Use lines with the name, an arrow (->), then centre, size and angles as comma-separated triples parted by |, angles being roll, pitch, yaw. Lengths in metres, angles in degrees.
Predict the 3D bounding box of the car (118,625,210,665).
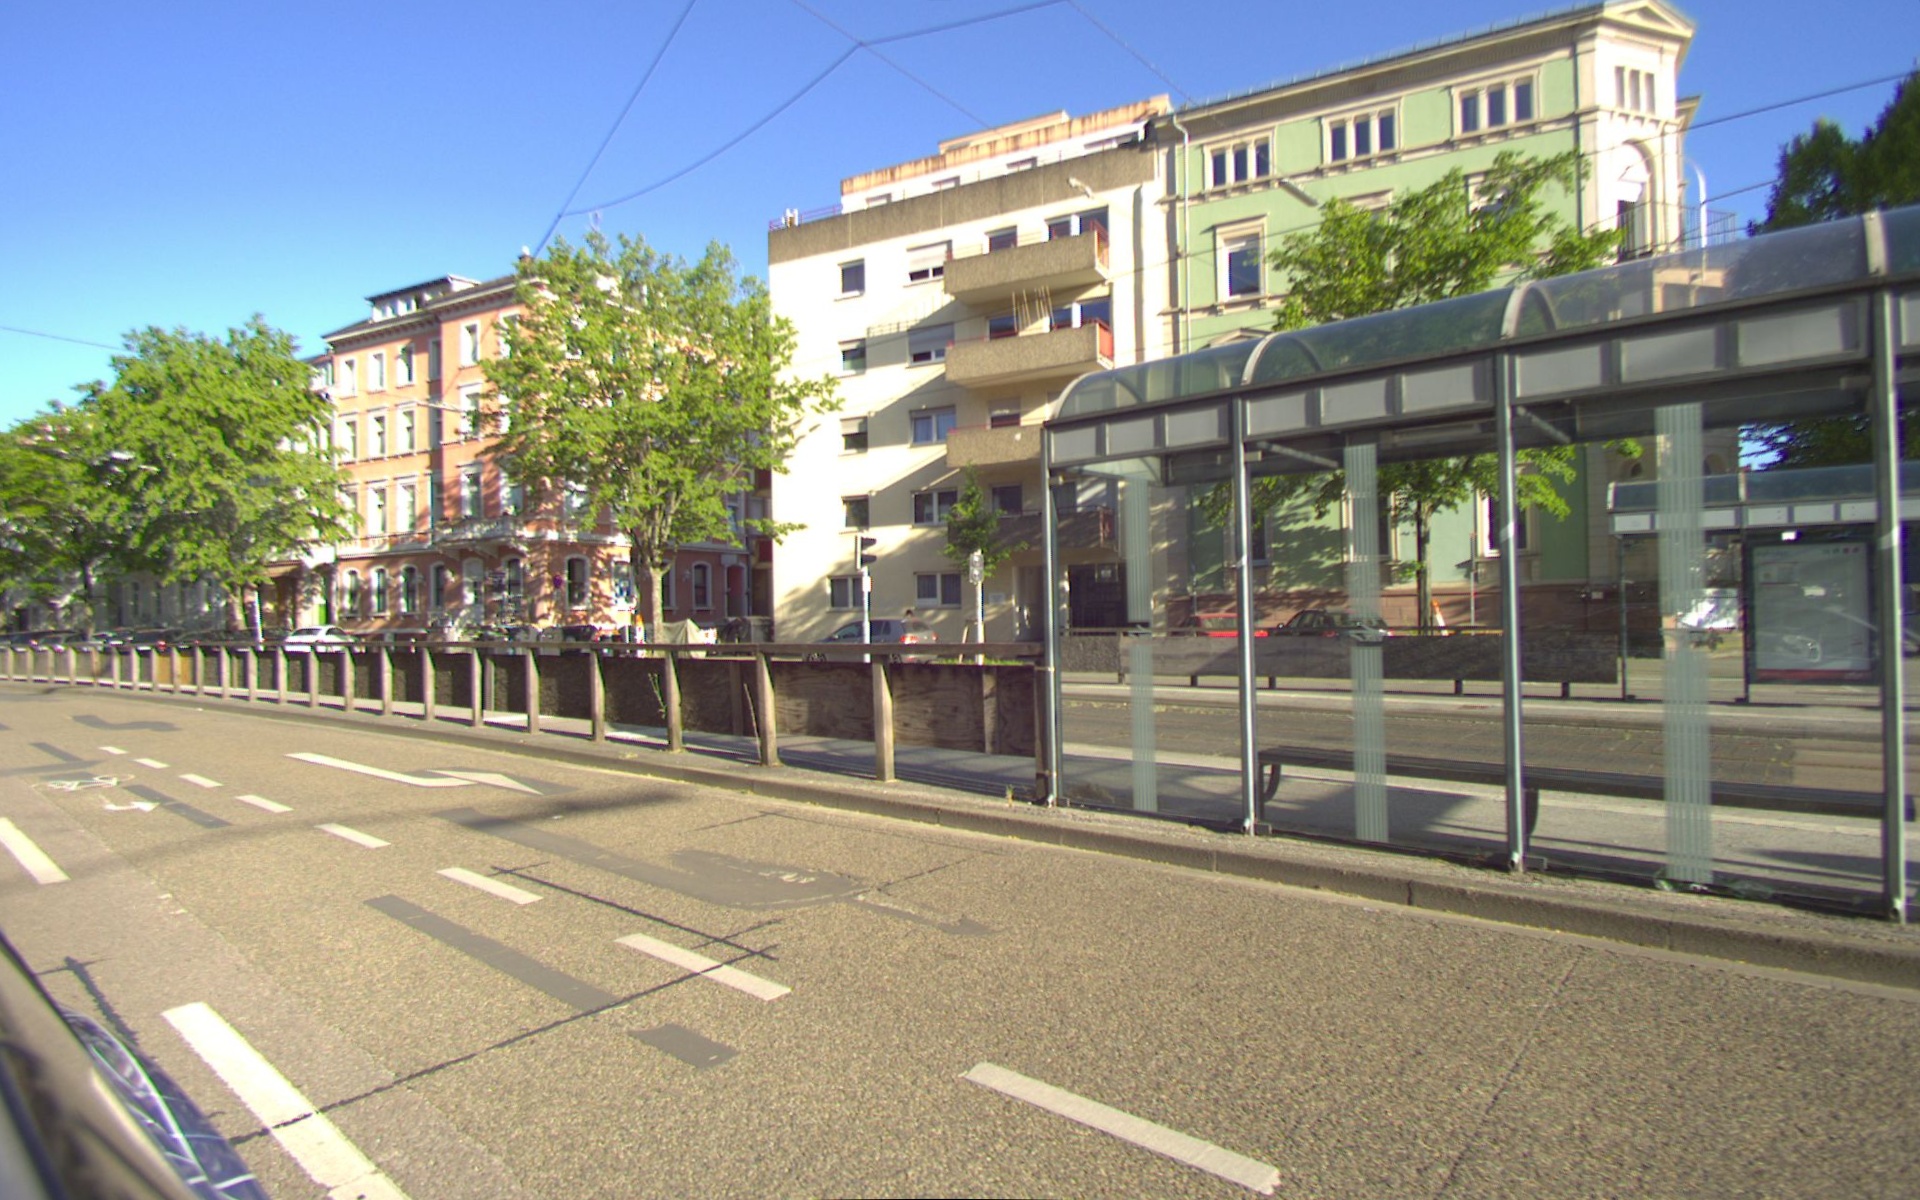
car -> -37.923, 2.103, 48.353 | 1.609, 1.629, 3.993 | -2, 1, -8

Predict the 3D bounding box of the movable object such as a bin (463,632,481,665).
movable object such as a bin -> -18.441, 1.834, 38.268 | 0.639, 1.212, 0.375 | -2, -1, 40

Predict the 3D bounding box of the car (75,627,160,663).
car -> -43.253, 2.288, 52.055 | 1.682, 1.544, 3.284 | -2, 2, -4

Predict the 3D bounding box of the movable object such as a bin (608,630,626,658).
movable object such as a bin -> -13.077, 1.681, 38.588 | 0.551, 1.041, 0.443 | 0, 0, 34

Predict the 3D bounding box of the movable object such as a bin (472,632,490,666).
movable object such as a bin -> -17.916, 1.822, 37.855 | 0.639, 1.251, 0.375 | -2, -1, 40

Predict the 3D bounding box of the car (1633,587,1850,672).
car -> 16.220, 0.533, 21.332 | 1.572, 1.581, 4.504 | -1, 1, 8

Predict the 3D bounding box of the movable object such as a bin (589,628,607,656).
movable object such as a bin -> -14.255, 1.655, 39.856 | 0.551, 1.105, 0.376 | -2, -1, 34

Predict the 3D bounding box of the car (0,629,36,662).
car -> -57.585, 2.778, 59.985 | 1.760, 1.811, 4.202 | -1, 2, -1

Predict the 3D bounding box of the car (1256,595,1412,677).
car -> 8.470, 0.738, 23.381 | 1.566, 1.654, 4.521 | -1, 1, -5

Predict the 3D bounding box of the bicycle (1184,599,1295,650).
bicycle -> 8.042, 0.710, 29.201 | 2.995, 1.409, 0.713 | -2, -1, 27

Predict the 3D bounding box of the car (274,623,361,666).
car -> -27.886, 1.878, 44.046 | 1.708, 1.533, 3.925 | -3, 2, -9

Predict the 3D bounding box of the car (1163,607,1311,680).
car -> 6.288, 0.928, 23.569 | 1.845, 1.436, 4.521 | -1, 1, -5

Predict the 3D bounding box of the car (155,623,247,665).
car -> -35.335, 2.024, 47.239 | 1.609, 1.629, 3.993 | -2, 1, -8

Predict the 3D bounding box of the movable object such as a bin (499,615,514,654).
movable object such as a bin -> -17.077, 1.301, 38.091 | 0.385, 1.437, 0.376 | -2, -1, 40

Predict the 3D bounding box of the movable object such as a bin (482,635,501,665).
movable object such as a bin -> -17.263, 1.851, 37.284 | 0.639, 1.076, 0.375 | -2, -1, 40

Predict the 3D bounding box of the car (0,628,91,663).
car -> -49.382, 2.426, 54.579 | 1.748, 1.666, 3.872 | -1, 1, -1

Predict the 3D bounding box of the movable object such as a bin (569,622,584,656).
movable object such as a bin -> -15.139, 1.555, 39.979 | 0.386, 1.322, 0.376 | -2, -1, 34

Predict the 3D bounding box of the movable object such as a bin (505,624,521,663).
movable object such as a bin -> -16.696, 1.629, 37.796 | 0.387, 1.437, 0.376 | -2, -1, 40

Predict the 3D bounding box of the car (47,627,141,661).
car -> -45.460, 2.306, 53.230 | 1.745, 1.496, 3.824 | -1, 1, -1

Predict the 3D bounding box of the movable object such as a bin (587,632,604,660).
movable object such as a bin -> -14.618, 1.847, 40.628 | 0.551, 1.107, 0.376 | -2, -1, 34

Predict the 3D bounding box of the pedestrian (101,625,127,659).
pedestrian -> -45.290, 2.260, 54.173 | 0.801, 1.769, 0.762 | -2, -1, 17

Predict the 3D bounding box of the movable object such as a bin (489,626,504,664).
movable object such as a bin -> -17.513, 1.695, 38.263 | 0.387, 1.437, 0.376 | -2, -1, 40

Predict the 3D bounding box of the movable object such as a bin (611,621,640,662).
movable object such as a bin -> -12.468, 1.536, 37.659 | 1.144, 1.469, 0.422 | 0, 0, 34

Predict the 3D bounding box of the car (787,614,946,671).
car -> -2.665, 1.175, 28.452 | 4.278, 1.421, 1.693 | -2, 1, 32

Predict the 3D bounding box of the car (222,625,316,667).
car -> -30.809, 2.000, 45.266 | 1.664, 1.519, 3.926 | -3, 2, -4

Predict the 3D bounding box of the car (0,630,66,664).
car -> -52.322, 2.581, 56.357 | 1.748, 1.666, 3.872 | -1, 1, -1

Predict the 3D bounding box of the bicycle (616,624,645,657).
bicycle -> -11.418, 1.408, 35.057 | 1.404, 1.125, 0.261 | -2, -1, 40

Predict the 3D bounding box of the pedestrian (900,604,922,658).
pedestrian -> -1.552, 0.985, 32.160 | 0.489, 1.684, 0.507 | -2, -1, 33

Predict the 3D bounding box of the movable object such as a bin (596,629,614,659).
movable object such as a bin -> -13.410, 1.669, 38.240 | 0.551, 1.105, 0.376 | 0, 0, 34

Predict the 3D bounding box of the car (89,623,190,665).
car -> -40.733, 2.154, 50.390 | 1.682, 1.735, 4.291 | -1, 2, -4
